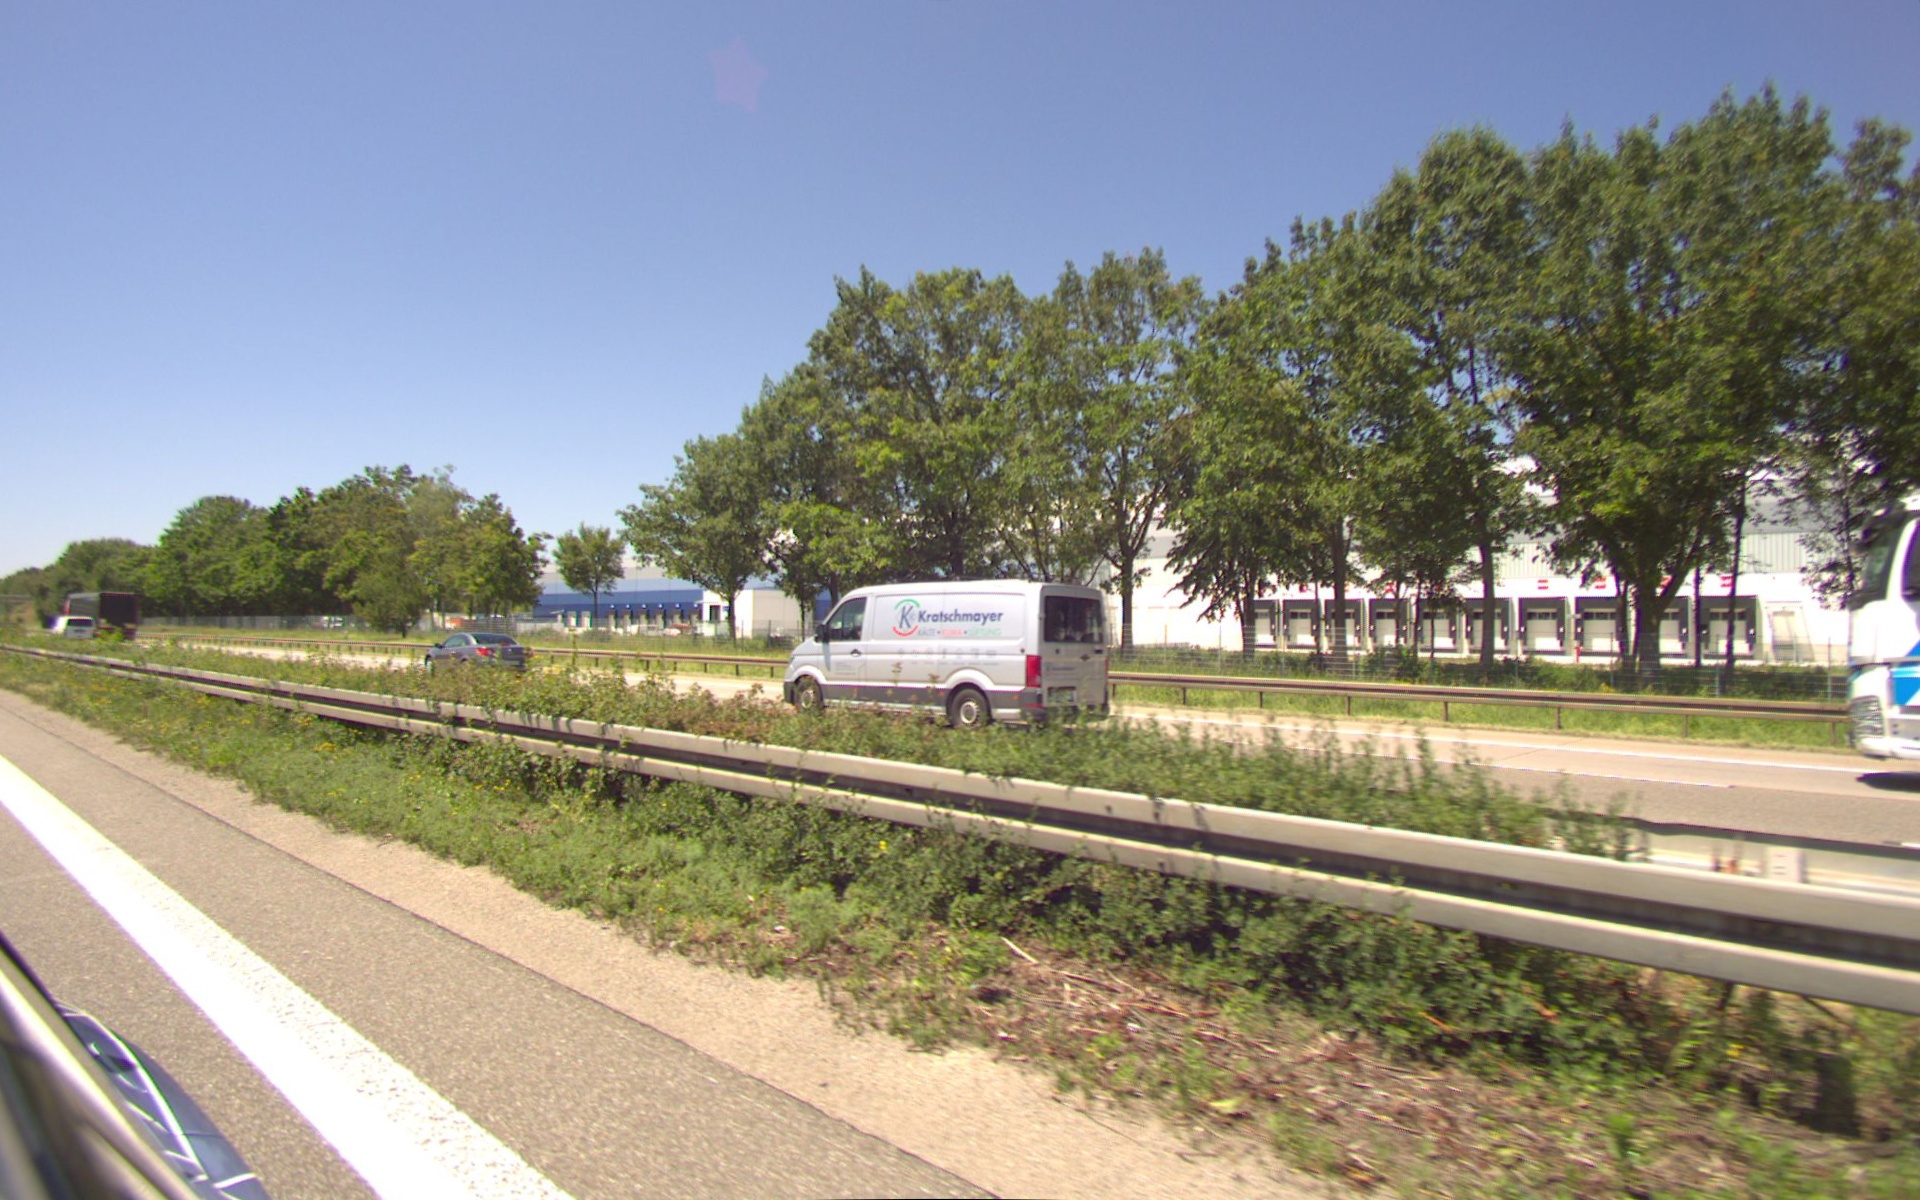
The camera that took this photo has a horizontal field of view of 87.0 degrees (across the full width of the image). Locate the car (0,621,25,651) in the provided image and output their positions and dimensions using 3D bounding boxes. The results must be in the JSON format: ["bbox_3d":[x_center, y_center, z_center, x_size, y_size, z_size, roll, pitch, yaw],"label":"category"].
[{"bbox_3d":[-64.167,2.402,67.606,3.996,1.927,1.975,-1,-3,40],"label":"car"}]

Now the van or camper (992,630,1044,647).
[{"bbox_3d":[5.708,3.770,99.799,5.018,1.665,1.972,-1,-3,41],"label":"van or camper"}]

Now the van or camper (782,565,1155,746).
[{"bbox_3d":[-0.084,0.814,16.037,6.073,2.371,2.037,-1,-3,41],"label":"van or camper"}]

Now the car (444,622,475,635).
[{"bbox_3d":[-85.047,4.850,171.872,2.000,2.029,4.267,-2,-3,43],"label":"car"}]

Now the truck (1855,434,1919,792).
[{"bbox_3d":[14.371,0.097,8.723,9.860,3.790,2.578,-1,-3,41],"label":"truck"}]

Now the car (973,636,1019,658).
[{"bbox_3d":[3.376,4.376,94.915,3.998,2.029,1.973,-1,-3,41],"label":"car"}]

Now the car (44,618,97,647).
[{"bbox_3d":[-63.073,2.314,71.753,5.207,1.927,1.975,-1,-3,40],"label":"car"}]

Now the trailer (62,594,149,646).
[{"bbox_3d":[-72.760,1.789,85.998,14.197,4.042,3.411,-1,-4,41],"label":"trailer"}]

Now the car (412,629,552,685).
[{"bbox_3d":[-13.728,1.593,28.962,4.594,1.450,1.838,-1,-3,40],"label":"car"}]
